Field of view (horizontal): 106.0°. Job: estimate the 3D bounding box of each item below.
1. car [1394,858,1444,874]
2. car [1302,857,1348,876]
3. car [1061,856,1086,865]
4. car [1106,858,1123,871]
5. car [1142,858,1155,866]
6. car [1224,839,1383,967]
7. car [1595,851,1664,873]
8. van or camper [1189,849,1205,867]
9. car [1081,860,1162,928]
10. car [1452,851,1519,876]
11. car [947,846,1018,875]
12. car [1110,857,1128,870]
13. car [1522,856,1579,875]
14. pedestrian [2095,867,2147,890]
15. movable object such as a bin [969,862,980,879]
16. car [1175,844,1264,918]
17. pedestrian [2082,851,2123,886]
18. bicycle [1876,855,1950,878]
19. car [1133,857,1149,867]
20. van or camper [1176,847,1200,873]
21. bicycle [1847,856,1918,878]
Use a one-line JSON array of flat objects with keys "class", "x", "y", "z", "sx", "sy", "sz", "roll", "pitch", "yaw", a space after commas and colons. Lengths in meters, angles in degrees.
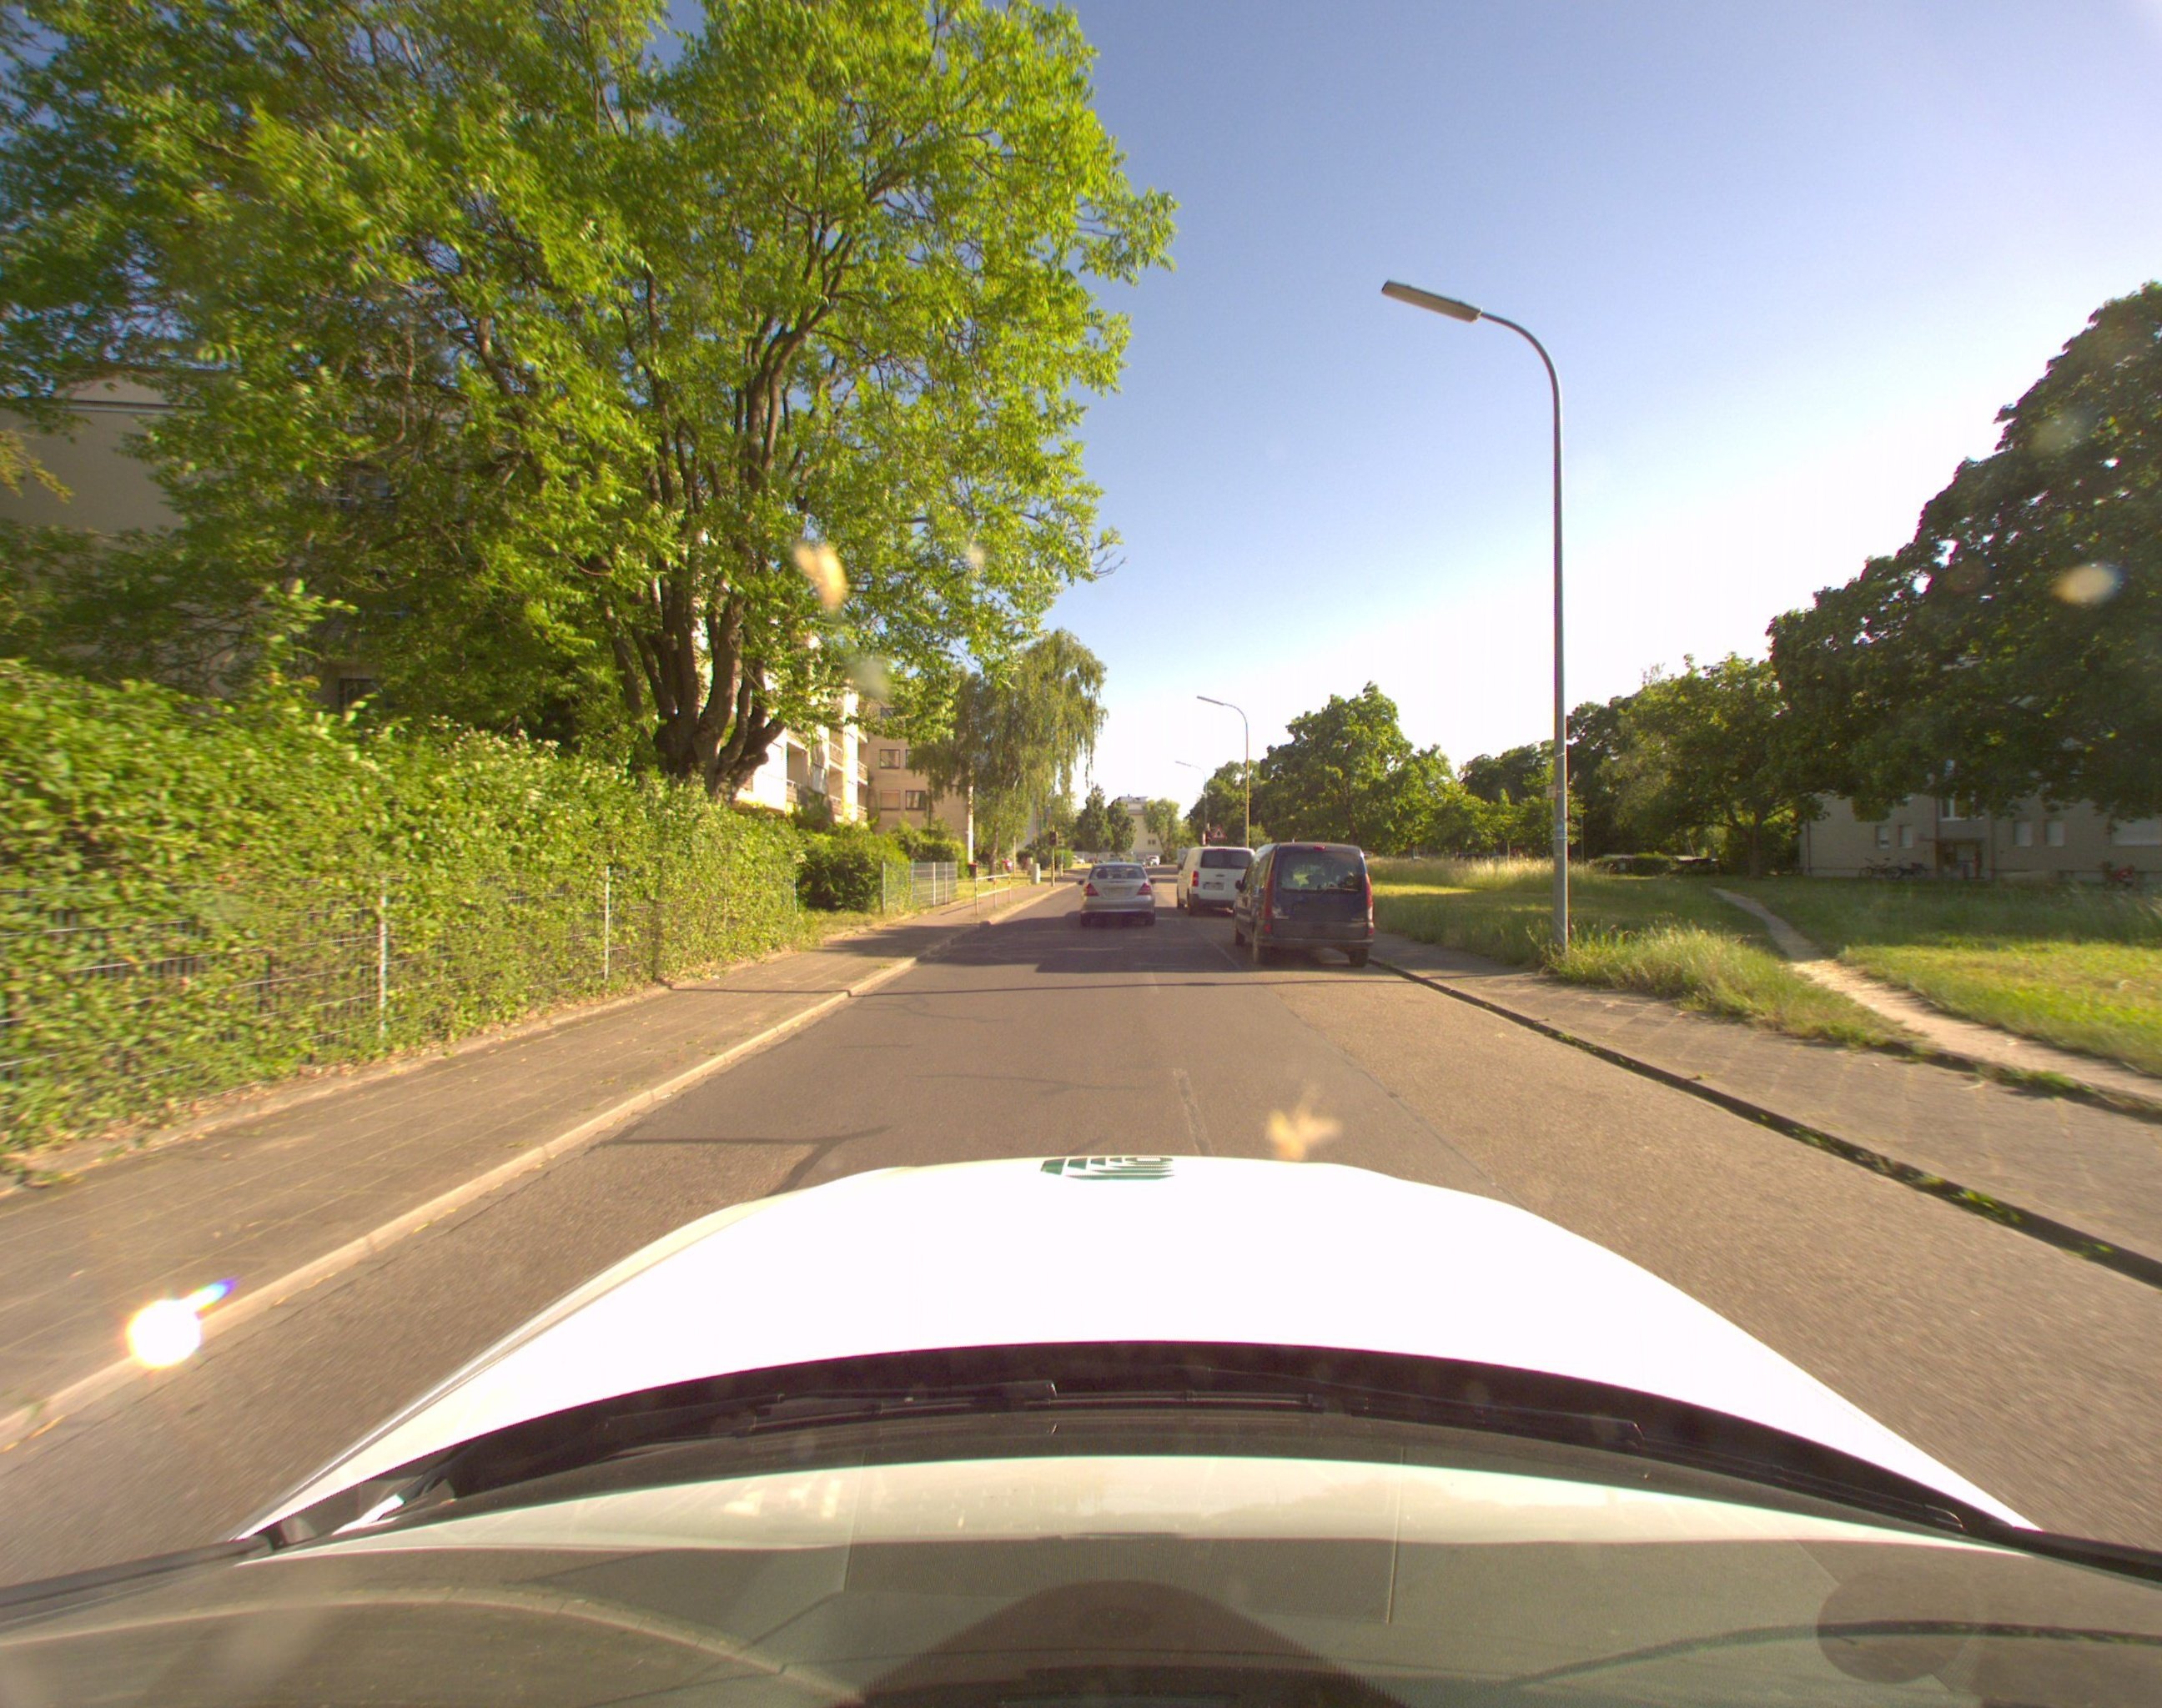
[{"class": "car", "x": 30.076, "y": 1.059, "z": 72.633, "sx": 3.843, "sy": 1.397, "sz": 1.792, "roll": 0, "pitch": 1, "yaw": 9}, {"class": "car", "x": 20.579, "y": 1.018, "z": 68.823, "sx": 3.659, "sy": 1.578, "sz": 1.835, "roll": 0, "pitch": 0, "yaw": 13}, {"class": "car", "x": -1.592, "y": 1.405, "z": 177.838, "sx": 5.064, "sy": 1.951, "sz": 2.248, "roll": -1, "pitch": -1, "yaw": 18}, {"class": "car", "x": 4.109, "y": 1.218, "z": 98.640, "sx": 1.637, "sy": 1.466, "sz": 4.341, "roll": 1, "pitch": 0, "yaw": 8}, {"class": "car", "x": 12.131, "y": 1.447, "z": 146.024, "sx": 1.821, "sy": 1.518, "sz": 4.235, "roll": 2, "pitch": 0, "yaw": 12}, {"class": "car", "x": 3.395, "y": 0.674, "z": 13.182, "sx": 1.690, "sy": 1.730, "sz": 4.088, "roll": 1, "pitch": 0, "yaw": 4}, {"class": "car", "x": 46.312, "y": 0.706, "z": 68.862, "sx": 4.422, "sy": 1.807, "sz": 2.007, "roll": -1, "pitch": 0, "yaw": 13}, {"class": "van or camper", "x": 19.778, "y": 0.656, "z": 138.319, "sx": 2.481, "sy": 2.845, "sz": 6.870, "roll": -1, "pitch": 0, "yaw": 10}, {"class": "car", "x": 0.914, "y": 0.870, "z": 19.175, "sx": 1.727, "sy": 1.434, "sz": 3.439, "roll": 0, "pitch": 0, "yaw": 1}, {"class": "car", "x": 32.833, "y": 0.783, "z": 66.251, "sx": 4.472, "sy": 2.012, "sz": 2.282, "roll": 0, "pitch": 0, "yaw": 13}, {"class": "car", "x": -8.723, "y": 0.590, "z": 72.657, "sx": 5.877, "sy": 2.428, "sz": 2.216, "roll": -1, "pitch": 1, "yaw": 5}, {"class": "car", "x": 4.935, "y": 1.198, "z": 104.912, "sx": 1.904, "sy": 1.604, "sz": 4.821, "roll": 2, "pitch": 0, "yaw": 7}, {"class": "car", "x": 40.707, "y": 0.994, "z": 70.701, "sx": 3.844, "sy": 1.611, "sz": 2.004, "roll": 0, "pitch": 0, "yaw": 7}, {"class": "pedestrian", "x": 39.971, "y": 0.930, "z": 31.315, "sx": 0.741, "sy": 0.848, "sz": 1.003, "roll": 0, "pitch": 0, "yaw": -5}, {"class": "movable object such as a bin", "x": -6.515, "y": 1.007, "z": 49.889, "sx": 0.564, "sy": 1.053, "sz": 0.554, "roll": 0, "pitch": -1, "yaw": -17}, {"class": "car", "x": 3.887, "y": 0.712, "z": 23.659, "sx": 1.908, "sy": 1.871, "sz": 4.868, "roll": 1, "pitch": 0, "yaw": 2}, {"class": "pedestrian", "x": 42.571, "y": 0.595, "z": 33.945, "sx": 0.754, "sy": 1.457, "sz": 0.765, "roll": 0, "pitch": -1, "yaw": -9}, {"class": "bicycle", "x": 45.495, "y": 0.694, "z": 44.555, "sx": 0.941, "sy": 1.205, "sz": 2.678, "roll": 0, "pitch": 0, "yaw": -20}, {"class": "car", "x": 9.797, "y": 1.318, "z": 133.375, "sx": 2.022, "sy": 1.492, "sz": 5.271, "roll": 2, "pitch": 0, "yaw": 11}, {"class": "van or camper", "x": 11.623, "y": 0.639, "z": 88.742, "sx": 2.339, "sy": 2.596, "sz": 6.439, "roll": -3, "pitch": -1, "yaw": 7}, {"class": "bicycle", "x": 44.364, "y": 0.716, "z": 45.125, "sx": 0.941, "sy": 1.205, "sz": 2.678, "roll": 0, "pitch": 0, "yaw": -20}]
